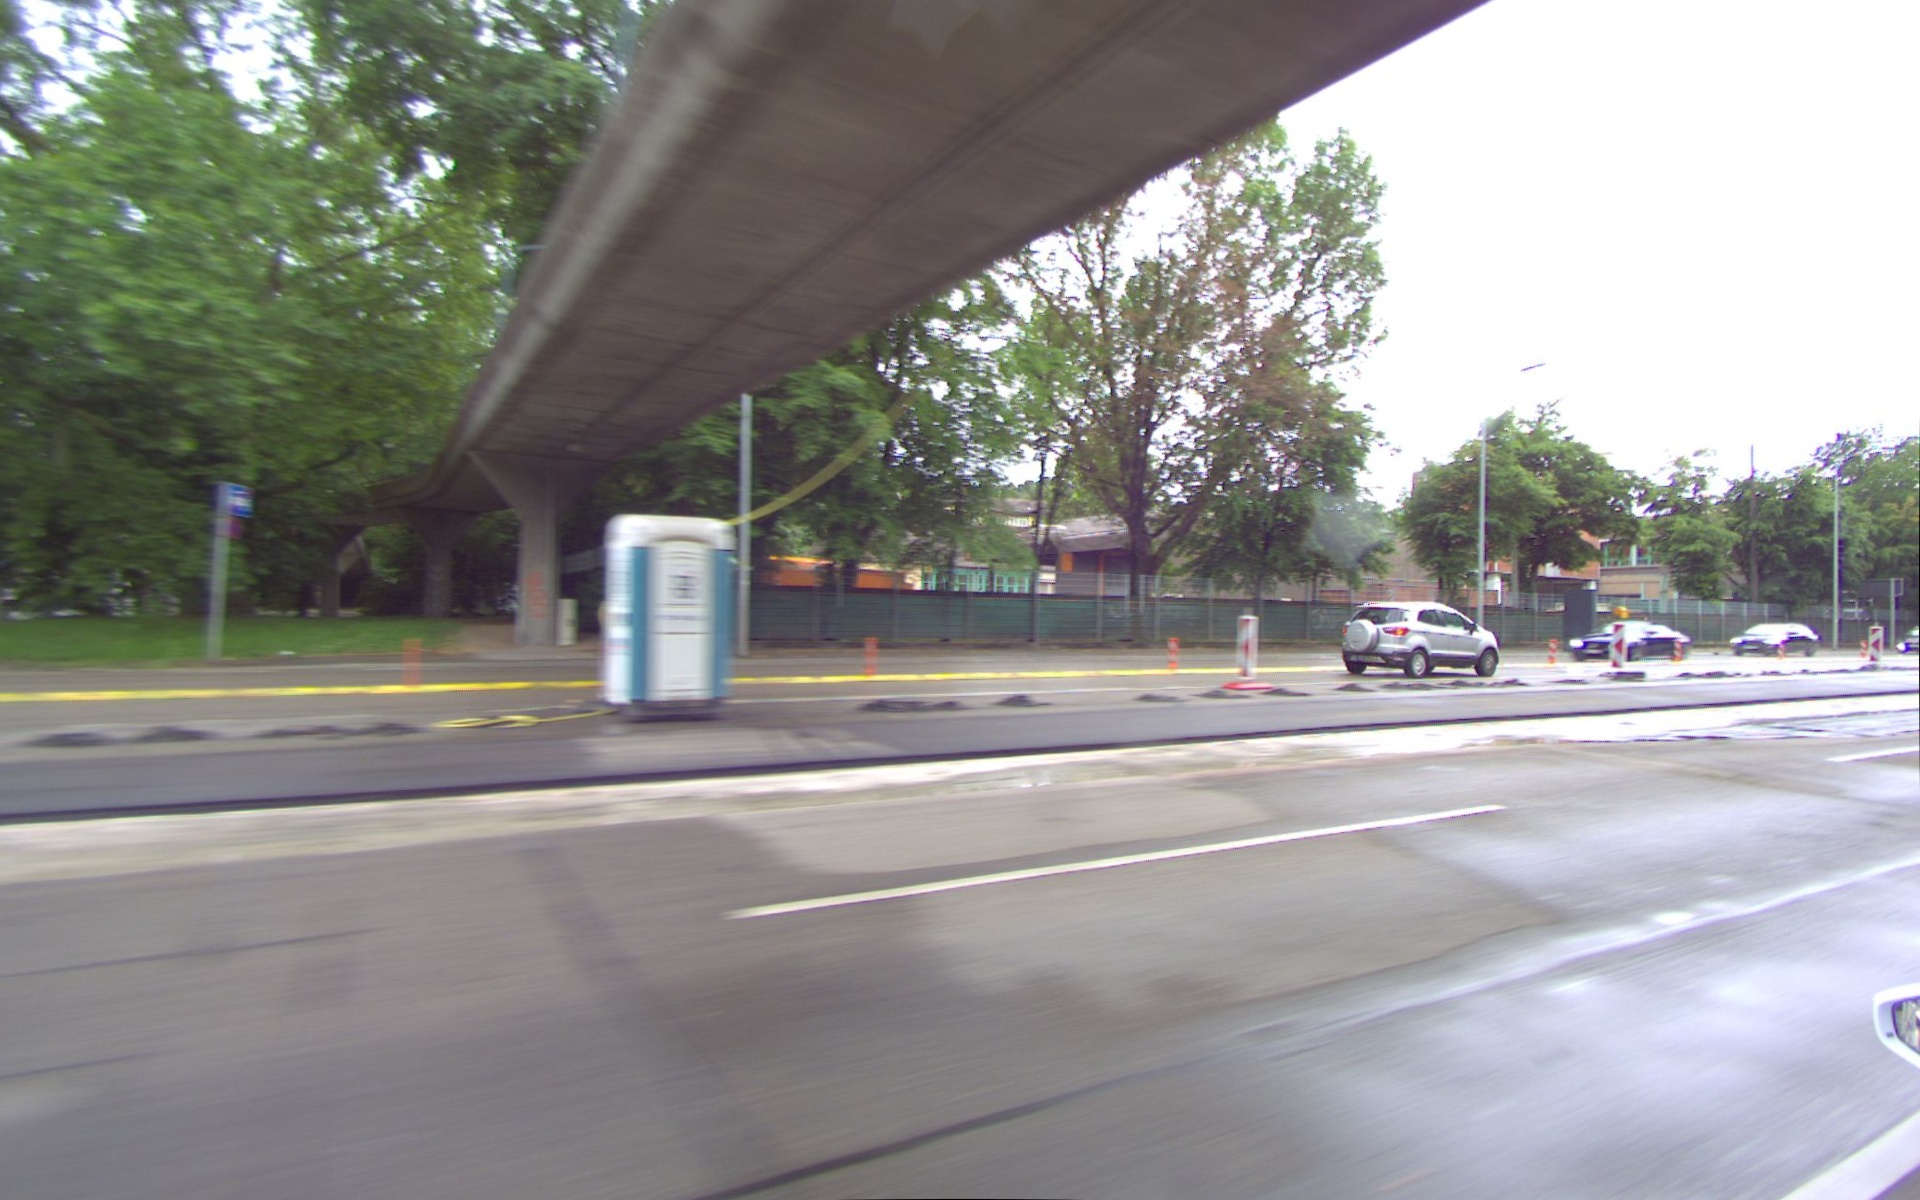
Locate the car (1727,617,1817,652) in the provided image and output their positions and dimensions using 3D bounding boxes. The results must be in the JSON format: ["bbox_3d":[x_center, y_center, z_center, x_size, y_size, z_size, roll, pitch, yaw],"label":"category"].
[{"bbox_3d":[35.404,1.490,43.781,3.952,1.461,1.716,1,-1,-29],"label":"car"}]

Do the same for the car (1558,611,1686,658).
[{"bbox_3d":[21.806,1.113,33.071,3.952,1.461,1.962,1,-1,-29],"label":"car"}]

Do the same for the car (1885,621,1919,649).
[{"bbox_3d":[51.510,1.872,53.644,3.952,1.461,1.962,1,-1,-29],"label":"car"}]

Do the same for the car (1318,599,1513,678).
[{"bbox_3d":[10.311,0.825,22.671,4.313,1.585,1.879,1,1,-31],"label":"car"}]
